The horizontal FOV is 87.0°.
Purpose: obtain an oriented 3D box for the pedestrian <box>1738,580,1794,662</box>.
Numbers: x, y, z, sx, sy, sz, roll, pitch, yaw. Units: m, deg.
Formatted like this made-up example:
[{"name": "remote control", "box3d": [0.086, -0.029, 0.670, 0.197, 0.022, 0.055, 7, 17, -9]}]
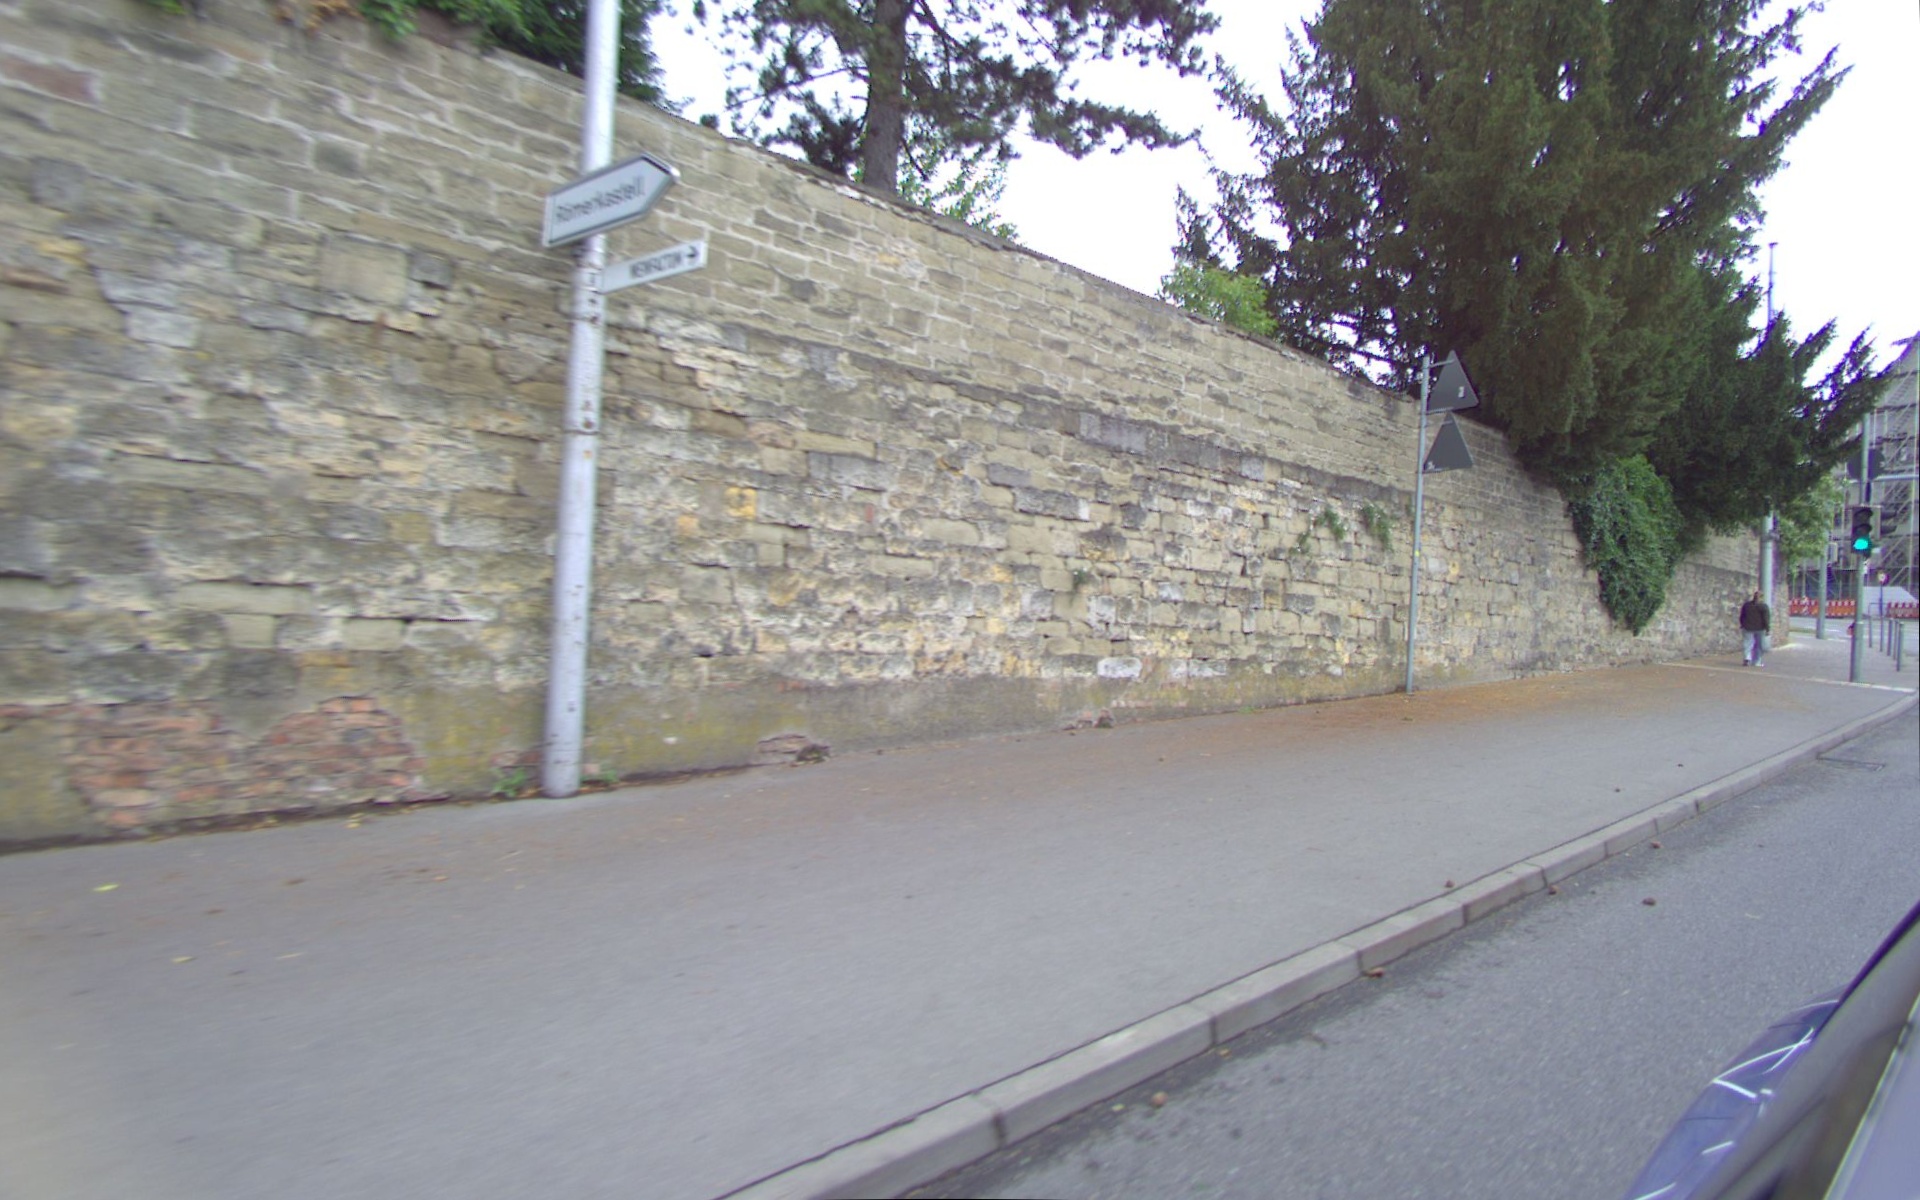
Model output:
[{"name": "pedestrian", "box3d": [16.462, 0.412, 20.673, 0.731, 1.595, 0.732, 1, 3, -43]}]
